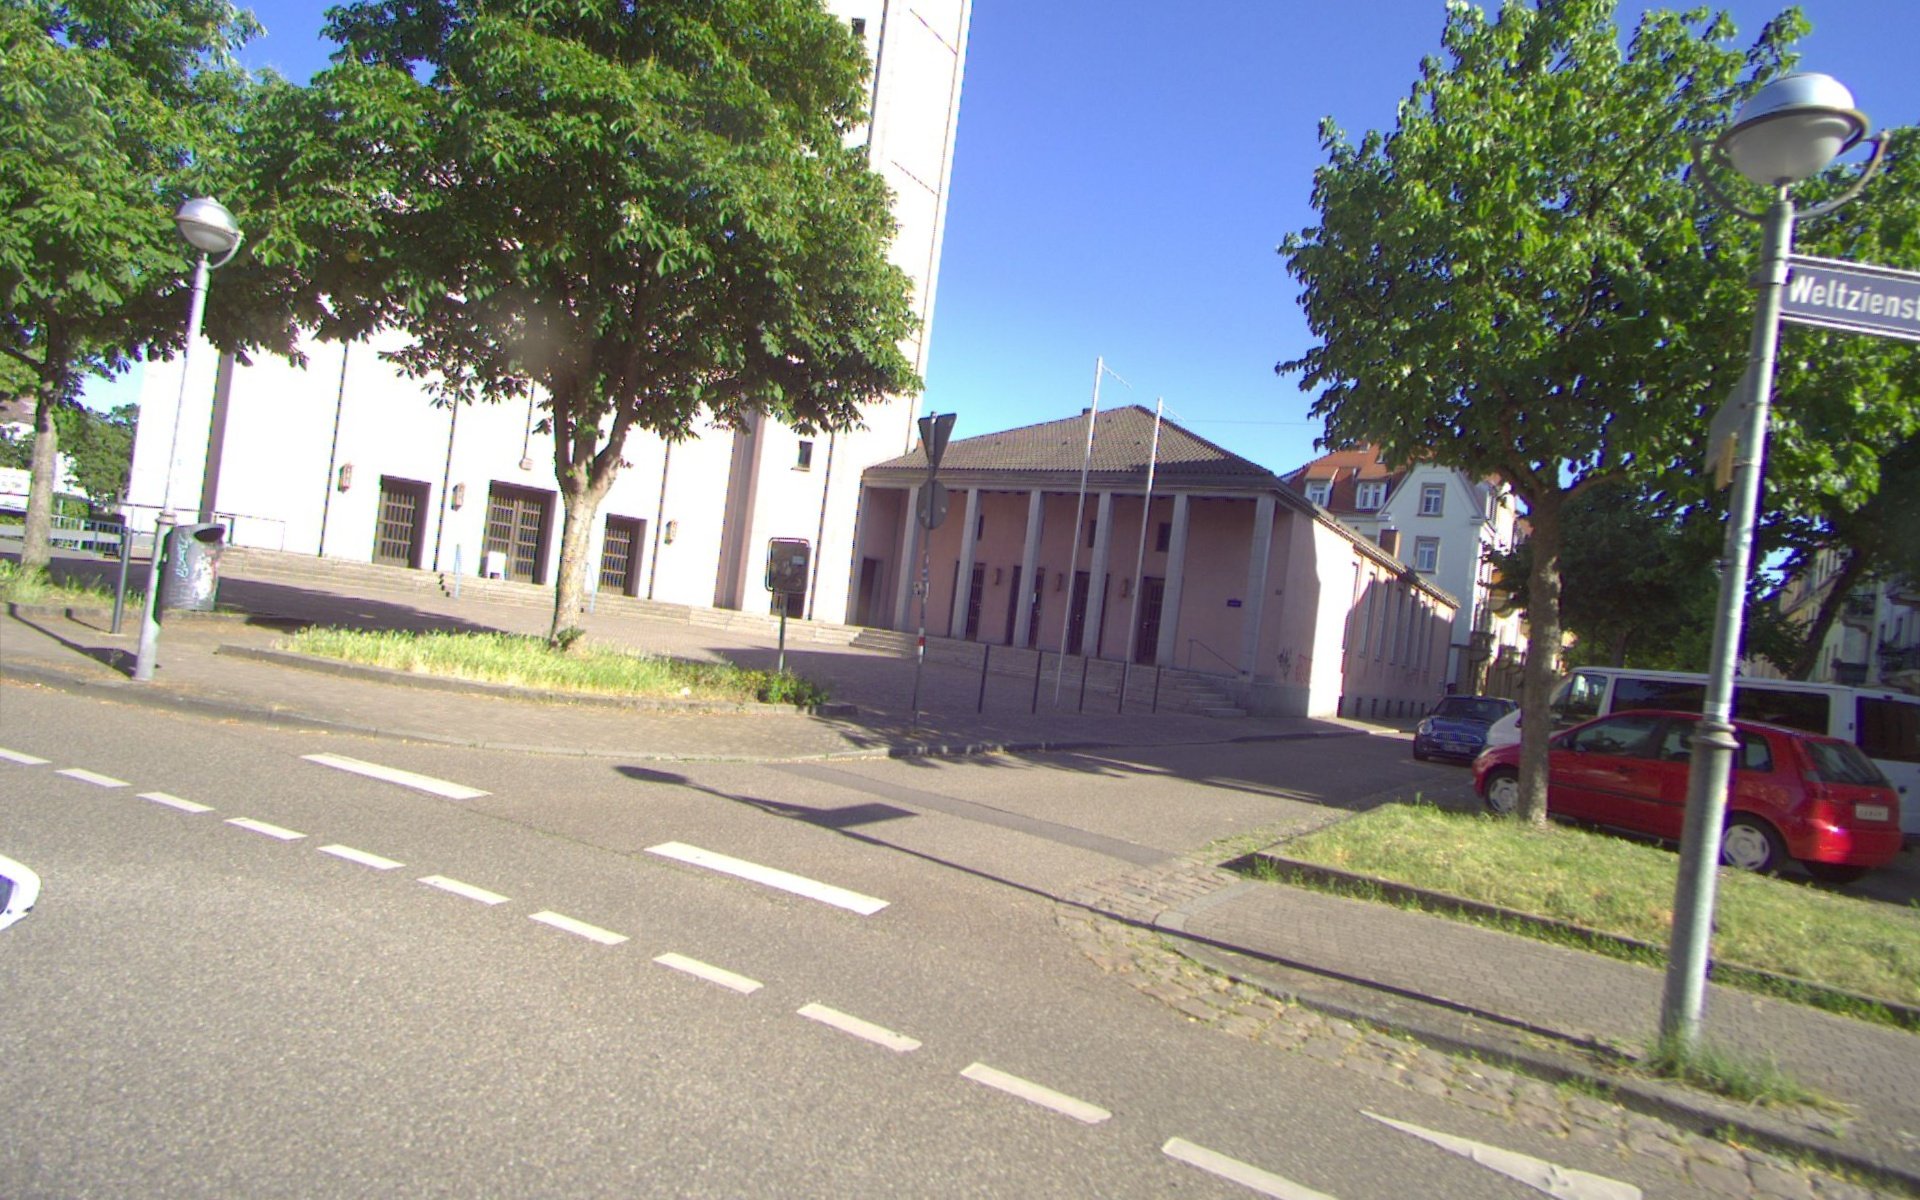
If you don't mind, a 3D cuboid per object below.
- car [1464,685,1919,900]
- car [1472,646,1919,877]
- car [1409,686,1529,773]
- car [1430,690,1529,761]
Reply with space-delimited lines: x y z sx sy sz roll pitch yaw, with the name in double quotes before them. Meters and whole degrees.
"car" 7.556 1.892 10.642 1.648 1.452 3.676 8 -1 -23
"car" 9.399 1.892 13.013 1.966 2.069 4.685 7 -1 -20
"car" 10.626 2.644 20.869 1.589 1.439 3.604 6 -2 36
"car" 13.015 3.101 25.093 1.589 1.439 3.604 6 -2 36
